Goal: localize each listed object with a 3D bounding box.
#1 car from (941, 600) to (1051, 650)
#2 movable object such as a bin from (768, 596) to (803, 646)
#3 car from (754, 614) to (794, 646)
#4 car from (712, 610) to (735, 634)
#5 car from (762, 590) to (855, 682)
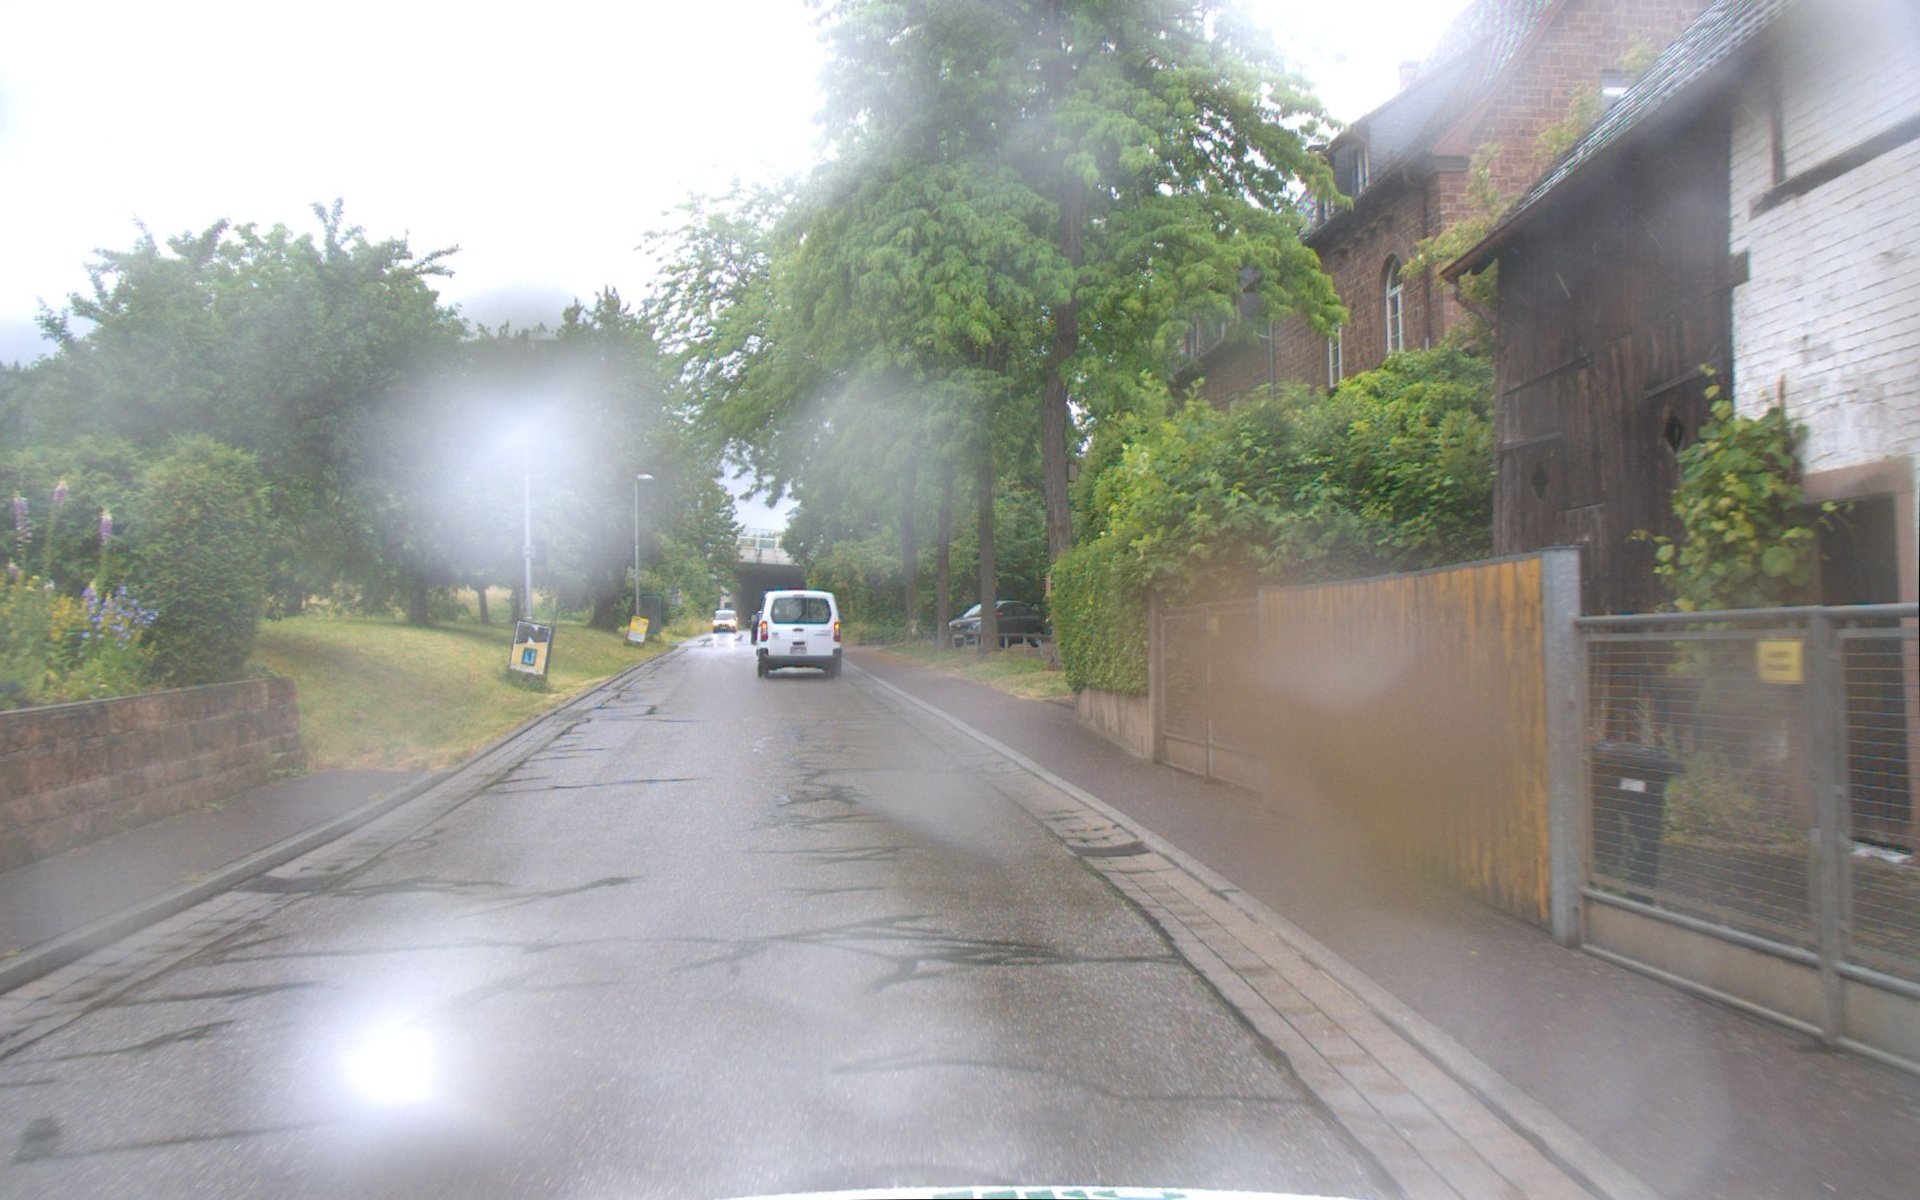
[{"bbox_3d":[1.206,0.819,55.057,3.585,1.578,1.596,0,-2,-44],"label":"car"},{"bbox_3d":[-9.196,1.117,87.363,1.727,2.592,4.234,0,-1,-5],"label":"movable object such as a bin"},{"bbox_3d":[-8.494,1.369,75.688,1.675,1.402,3.996,0,-1,-4],"label":"car"},{"bbox_3d":[-18.811,1.781,131.430,1.789,1.864,4.298,0,-1,-8],"label":"car"},{"bbox_3d":[-3.328,0.738,35.975,1.860,1.838,3.994,-1,0,-6],"label":"car"}]
